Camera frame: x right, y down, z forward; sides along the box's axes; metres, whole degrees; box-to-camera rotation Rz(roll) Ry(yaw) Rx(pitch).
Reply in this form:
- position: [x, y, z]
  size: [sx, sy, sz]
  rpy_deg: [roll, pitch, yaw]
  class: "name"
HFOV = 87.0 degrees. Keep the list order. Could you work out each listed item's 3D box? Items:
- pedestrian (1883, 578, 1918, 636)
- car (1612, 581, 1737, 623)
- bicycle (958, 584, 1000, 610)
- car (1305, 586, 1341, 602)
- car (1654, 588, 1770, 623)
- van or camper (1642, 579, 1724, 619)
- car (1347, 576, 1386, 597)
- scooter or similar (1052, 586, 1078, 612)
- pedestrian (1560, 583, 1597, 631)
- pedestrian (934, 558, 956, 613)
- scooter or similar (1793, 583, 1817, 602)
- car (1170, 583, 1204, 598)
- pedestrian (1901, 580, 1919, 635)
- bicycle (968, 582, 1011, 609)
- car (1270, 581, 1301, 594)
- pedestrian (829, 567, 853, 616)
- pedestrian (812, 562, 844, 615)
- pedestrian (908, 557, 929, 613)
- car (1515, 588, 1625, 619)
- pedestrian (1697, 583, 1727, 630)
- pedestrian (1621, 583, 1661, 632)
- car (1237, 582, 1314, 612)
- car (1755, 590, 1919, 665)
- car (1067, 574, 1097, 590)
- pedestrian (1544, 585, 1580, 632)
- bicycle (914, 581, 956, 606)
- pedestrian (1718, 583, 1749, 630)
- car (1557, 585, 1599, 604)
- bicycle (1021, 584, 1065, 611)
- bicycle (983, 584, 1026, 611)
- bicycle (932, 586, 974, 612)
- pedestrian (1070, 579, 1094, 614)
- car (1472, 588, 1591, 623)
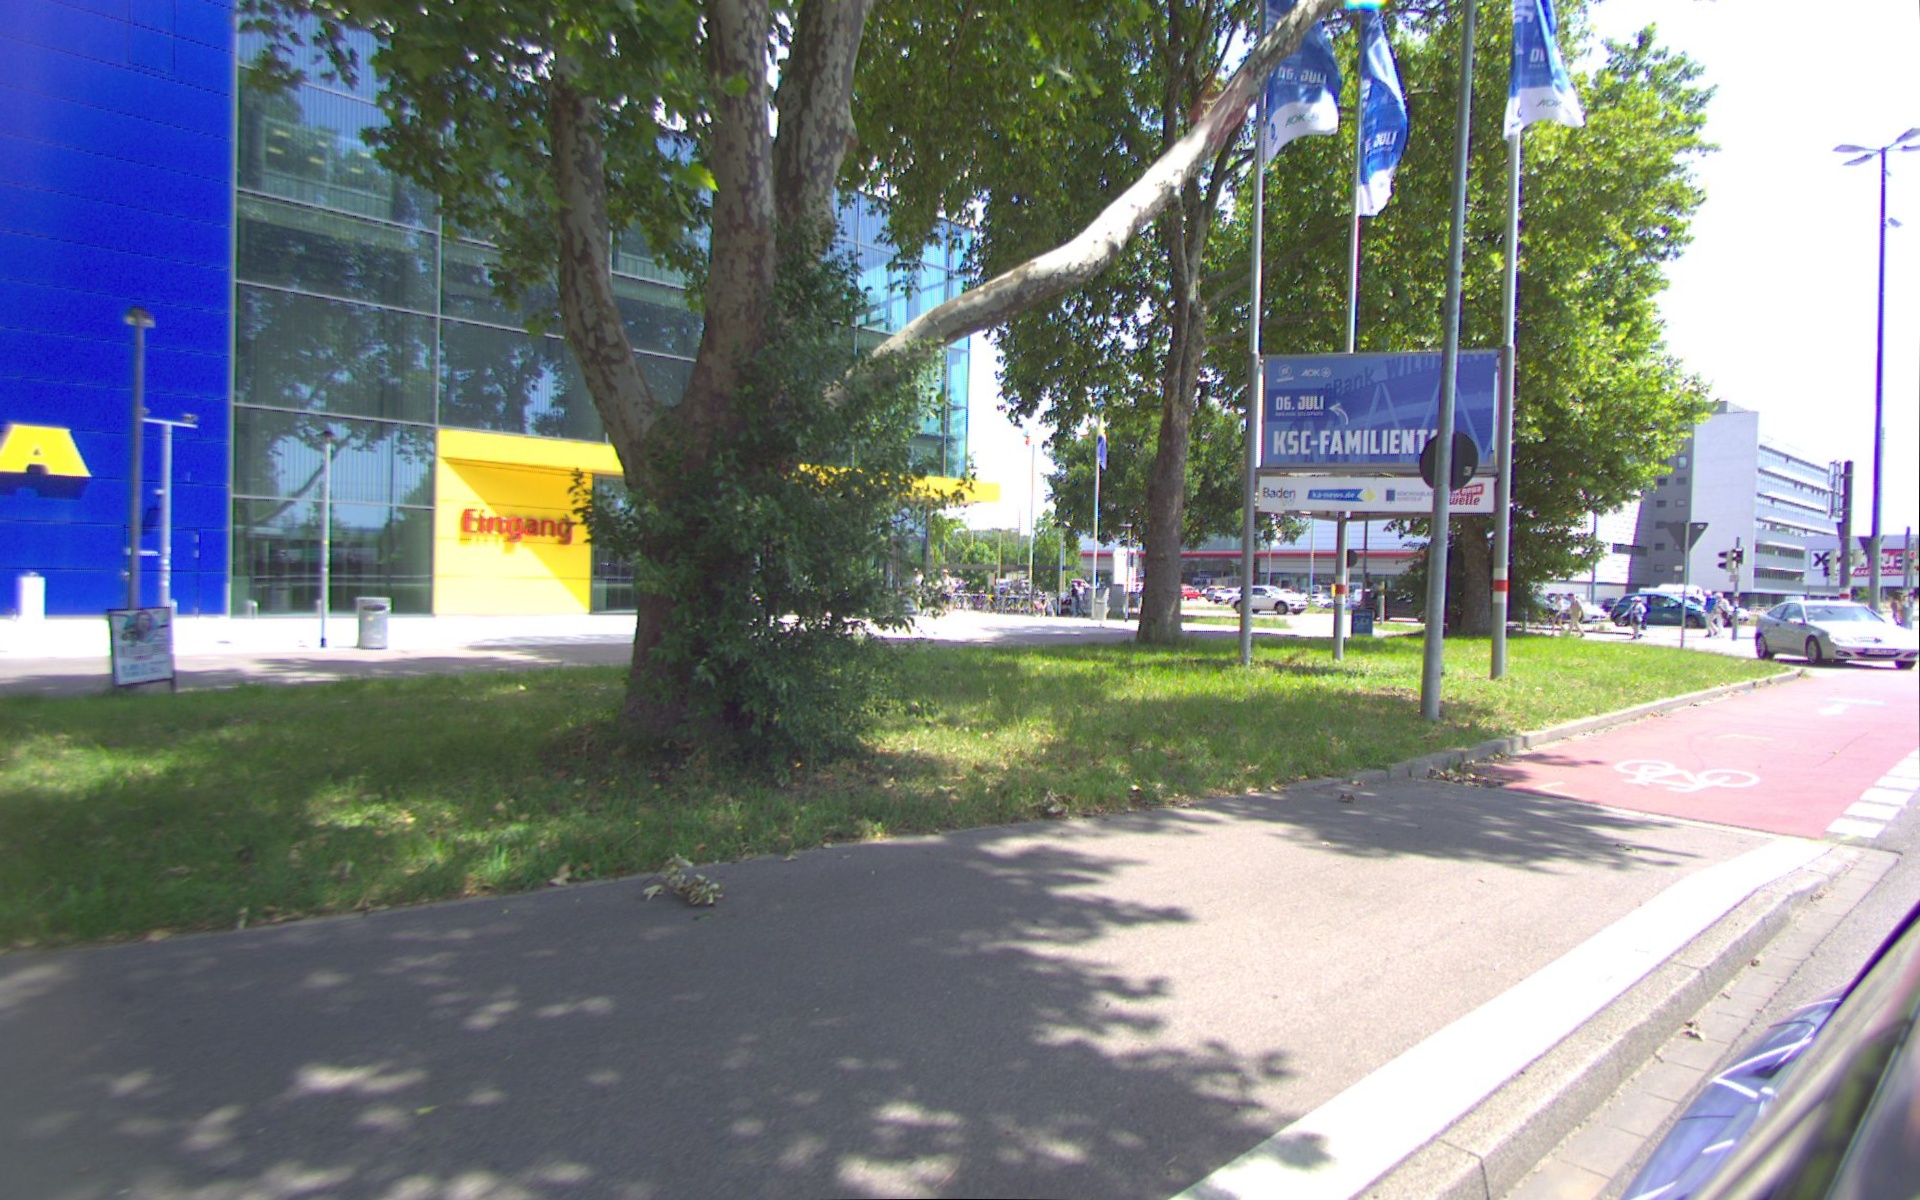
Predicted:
- position: [27.798, 0.191, 29.904]
  size: [0.614, 1.704, 0.724]
  rpy_deg: [-1, 1, -43]
  class: "pedestrian"
- position: [30.264, 0.085, 42.920]
  size: [1.964, 1.576, 3.994]
  rpy_deg: [5, -3, -41]
  class: "car"
- position: [0.944, -0.153, 48.859]
  size: [0.798, 1.214, 2.401]
  rpy_deg: [1, 1, 37]
  class: "bicycle"
- position: [36.686, -0.614, 102.253]
  size: [3.933, 1.565, 1.850]
  rpy_deg: [-1, 1, -43]
  class: "car"
- position: [32.969, 0.219, 44.431]
  size: [1.772, 1.414, 3.830]
  rpy_deg: [0, 1, -42]
  class: "car"
- position: [57.814, -0.142, 80.842]
  size: [7.465, 2.983, 2.719]
  rpy_deg: [-1, 1, -32]
  class: "van or camper"
- position: [41.073, -1.373, 102.273]
  size: [3.927, 2.039, 1.999]
  rpy_deg: [-1, 1, -37]
  class: "car"
- position: [5.047, -0.053, 48.591]
  size: [0.716, 1.213, 1.075]
  rpy_deg: [-1, 1, -41]
  class: "scooter or similar"
- position: [22.280, 0.245, 36.459]
  size: [0.834, 1.680, 0.799]
  rpy_deg: [0, 1, -23]
  class: "pedestrian"
- position: [-0.562, -0.532, 37.762]
  size: [0.718, 2.039, 0.801]
  rpy_deg: [0, 1, -9]
  class: "pedestrian"
- position: [54.367, -0.460, 65.120]
  size: [1.253, 1.140, 0.481]
  rpy_deg: [-4, 1, -10]
  class: "scooter or similar"
- position: [27.575, -1.139, 122.998]
  size: [4.093, 1.723, 1.854]
  rpy_deg: [0, 1, -36]
  class: "car"
- position: [28.654, 0.216, 30.112]
  size: [0.755, 1.626, 0.894]
  rpy_deg: [-1, 1, -43]
  class: "pedestrian"
- position: [1.385, -0.211, 47.392]
  size: [0.798, 1.214, 2.401]
  rpy_deg: [1, 1, 37]
  class: "bicycle"
- position: [39.572, -1.487, 123.126]
  size: [3.928, 1.546, 1.693]
  rpy_deg: [-1, 1, -39]
  class: "car"
- position: [-4.116, -0.301, 34.913]
  size: [0.603, 1.693, 0.579]
  rpy_deg: [0, 1, 34]
  class: "pedestrian"
- position: [-4.463, -0.387, 34.280]
  size: [0.778, 1.757, 0.732]
  rpy_deg: [1, 1, 34]
  class: "pedestrian"
- position: [-1.528, -0.542, 37.230]
  size: [0.718, 2.039, 0.800]
  rpy_deg: [0, 1, -4]
  class: "pedestrian"
- position: [29.473, 0.138, 49.012]
  size: [1.768, 1.415, 4.236]
  rpy_deg: [0, 1, -32]
  class: "car"
- position: [27.333, 0.213, 36.798]
  size: [0.847, 1.658, 0.605]
  rpy_deg: [-2, 1, -31]
  class: "pedestrian"
- position: [23.738, 0.258, 35.291]
  size: [0.834, 1.680, 0.799]
  rpy_deg: [0, 1, -19]
  class: "pedestrian"
- position: [18.937, -0.198, 60.873]
  size: [1.963, 1.660, 4.079]
  rpy_deg: [1, 1, -38]
  class: "car"
- position: [19.484, 0.538, 22.425]
  size: [1.711, 1.436, 4.292]
  rpy_deg: [-1, 1, 21]
  class: "car"
- position: [16.227, -2.399, 134.555]
  size: [3.927, 2.039, 1.545]
  rpy_deg: [-1, 1, -38]
  class: "car"
- position: [22.229, 0.297, 37.369]
  size: [0.834, 1.680, 0.799]
  rpy_deg: [0, 1, -23]
  class: "pedestrian"
- position: [-1.212, -0.352, 50.144]
  size: [0.798, 1.214, 2.401]
  rpy_deg: [1, 1, 37]
  class: "bicycle"
- position: [27.733, 0.216, 36.298]
  size: [0.847, 1.658, 0.608]
  rpy_deg: [-2, 1, -31]
  class: "pedestrian"
- position: [59.712, -0.559, 97.801]
  size: [4.420, 1.738, 1.999]
  rpy_deg: [-1, 1, -38]
  class: "car"
- position: [3.697, -0.135, 44.695]
  size: [0.798, 1.159, 2.401]
  rpy_deg: [1, 1, 37]
  class: "bicycle"
- position: [2.089, -0.136, 46.905]
  size: [0.798, 1.214, 2.401]
  rpy_deg: [1, 1, 37]
  class: "bicycle"
- position: [-0.340, -0.060, 49.587]
  size: [0.798, 1.214, 2.401]
  rpy_deg: [1, 1, 37]
  class: "bicycle"
- position: [5.743, -0.174, 47.746]
  size: [0.623, 1.606, 0.918]
  rpy_deg: [0, 1, -45]
  class: "pedestrian"
- position: [26.199, 0.205, 46.480]
  size: [1.821, 1.461, 4.408]
  rpy_deg: [0, 2, -41]
  class: "car"
